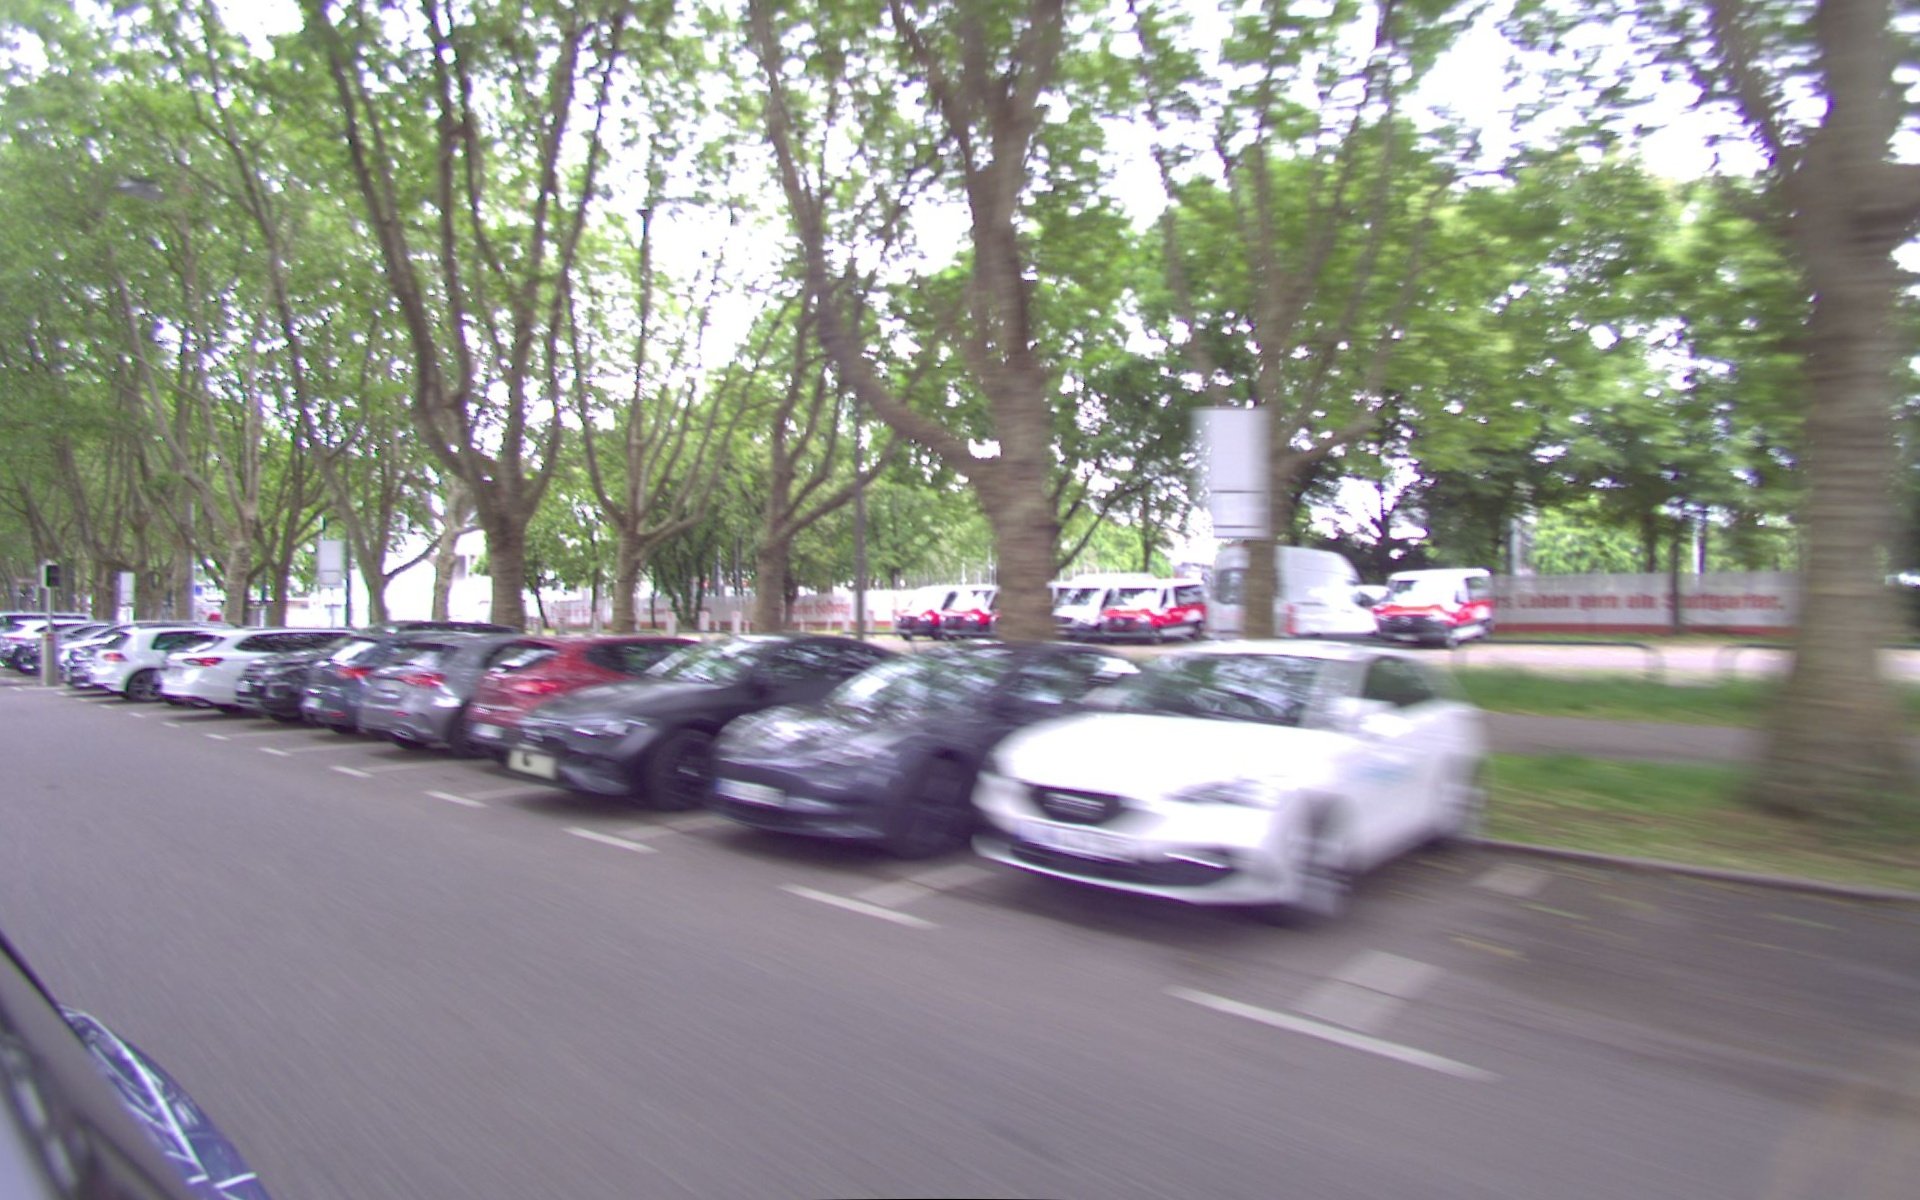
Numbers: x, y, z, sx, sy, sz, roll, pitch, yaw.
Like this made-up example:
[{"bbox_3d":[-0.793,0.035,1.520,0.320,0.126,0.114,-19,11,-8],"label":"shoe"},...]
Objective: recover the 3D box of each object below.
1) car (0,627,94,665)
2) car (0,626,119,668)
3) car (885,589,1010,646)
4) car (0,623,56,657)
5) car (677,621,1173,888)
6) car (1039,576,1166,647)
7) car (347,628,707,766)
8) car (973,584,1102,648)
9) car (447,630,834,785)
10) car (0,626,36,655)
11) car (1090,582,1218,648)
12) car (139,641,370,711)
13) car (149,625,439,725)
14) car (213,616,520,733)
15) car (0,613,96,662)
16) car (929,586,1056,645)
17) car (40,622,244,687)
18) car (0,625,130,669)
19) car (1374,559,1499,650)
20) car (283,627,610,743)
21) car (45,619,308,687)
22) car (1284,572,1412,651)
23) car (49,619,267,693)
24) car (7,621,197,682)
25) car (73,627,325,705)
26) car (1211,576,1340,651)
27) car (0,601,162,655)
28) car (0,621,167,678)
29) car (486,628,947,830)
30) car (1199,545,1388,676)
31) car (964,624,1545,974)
[{"bbox_3d":[-37.479,1.824,40.276,1.775,1.463,4.398,-2,-3,44],"label":"car"},{"bbox_3d":[-33.824,1.714,37.398,1.534,1.482,3.959,-1,-3,36],"label":"car"},{"bbox_3d":[-0.430,0.691,43.785,1.998,2.269,5.941,-2,0,40],"label":"car"},{"bbox_3d":[-48.329,2.008,50.657,1.998,1.680,4.298,-2,-4,39],"label":"car"},{"bbox_3d":[-0.019,0.918,7.591,1.692,1.440,3.791,0,-2,37],"label":"car"},{"bbox_3d":[5.641,0.388,39.386,1.998,2.546,5.941,-2,0,40],"label":"car"},{"bbox_3d":[-5.216,1.087,12.614,1.692,1.441,3.791,-1,-3,37],"label":"car"},{"bbox_3d":[3.202,0.581,40.462,1.998,2.335,5.941,-2,0,40],"label":"car"},{"bbox_3d":[-3.431,1.071,11.348,1.695,1.441,3.783,-2,-3,44],"label":"car"},{"bbox_3d":[-50.157,2.039,51.780,1.840,1.487,3.948,-2,-4,38],"label":"car"},{"bbox_3d":[7.299,0.484,37.592,1.998,2.257,5.941,-2,0,40],"label":"car"},{"bbox_3d":[-13.375,1.387,19.327,1.582,1.212,3.285,-1,-3,37],"label":"car"},{"bbox_3d":[-11.270,1.204,17.339,1.692,1.509,3.791,-1,-3,37],"label":"car"},{"bbox_3d":[-9.305,1.111,16.126,1.856,1.621,3.791,-1,-3,37],"label":"car"},{"bbox_3d":[-40.937,1.626,43.971,1.916,2.035,4.848,-1,-3,37],"label":"car"},{"bbox_3d":[1.458,0.600,42.108,1.998,2.269,5.941,-2,0,40],"label":"car"},{"bbox_3d":[-22.147,1.435,27.542,1.692,1.620,4.005,-1,-2,37],"label":"car"},{"bbox_3d":[-32.236,1.674,36.123,1.862,1.485,3.718,-2,-3,39],"label":"car"},{"bbox_3d":[14.785,0.097,31.167,1.998,2.546,5.941,-2,0,40],"label":"car"},{"bbox_3d":[-7.246,1.129,14.565,1.800,1.441,3.789,-2,-3,39],"label":"car"},{"bbox_3d":[-17.369,1.158,22.647,1.692,1.375,4.359,-1,-3,37],"label":"car"},{"bbox_3d":[12.691,0.323,32.833,1.998,2.322,5.941,-2,0,40],"label":"car"},{"bbox_3d":[-19.177,1.309,24.342,1.692,1.620,3.791,-1,-3,37],"label":"car"},{"bbox_3d":[-24.313,1.437,28.780,1.831,1.620,3.791,-1,-3,37],"label":"car"},{"bbox_3d":[-15.434,1.292,20.692,1.692,1.441,3.791,-1,-3,37],"label":"car"},{"bbox_3d":[10.797,0.396,34.327,1.998,2.347,5.941,-2,0,40],"label":"car"},{"bbox_3d":[-28.358,0.931,32.604,1.950,1.640,3.790,-1,-3,37],"label":"car"},{"bbox_3d":[-26.575,1.474,30.436,1.799,1.620,4.023,-2,-3,43],"label":"car"},{"bbox_3d":[-2.007,1.004,9.374,1.692,1.441,3.983,-1,-3,37],"label":"car"},{"bbox_3d":[7.739,0.183,23.049,1.999,2.617,5.726,-2,0,41],"label":"car"},{"bbox_3d":[2.127,0.904,6.365,1.695,1.441,4.352,-2,-3,44],"label":"car"}]
